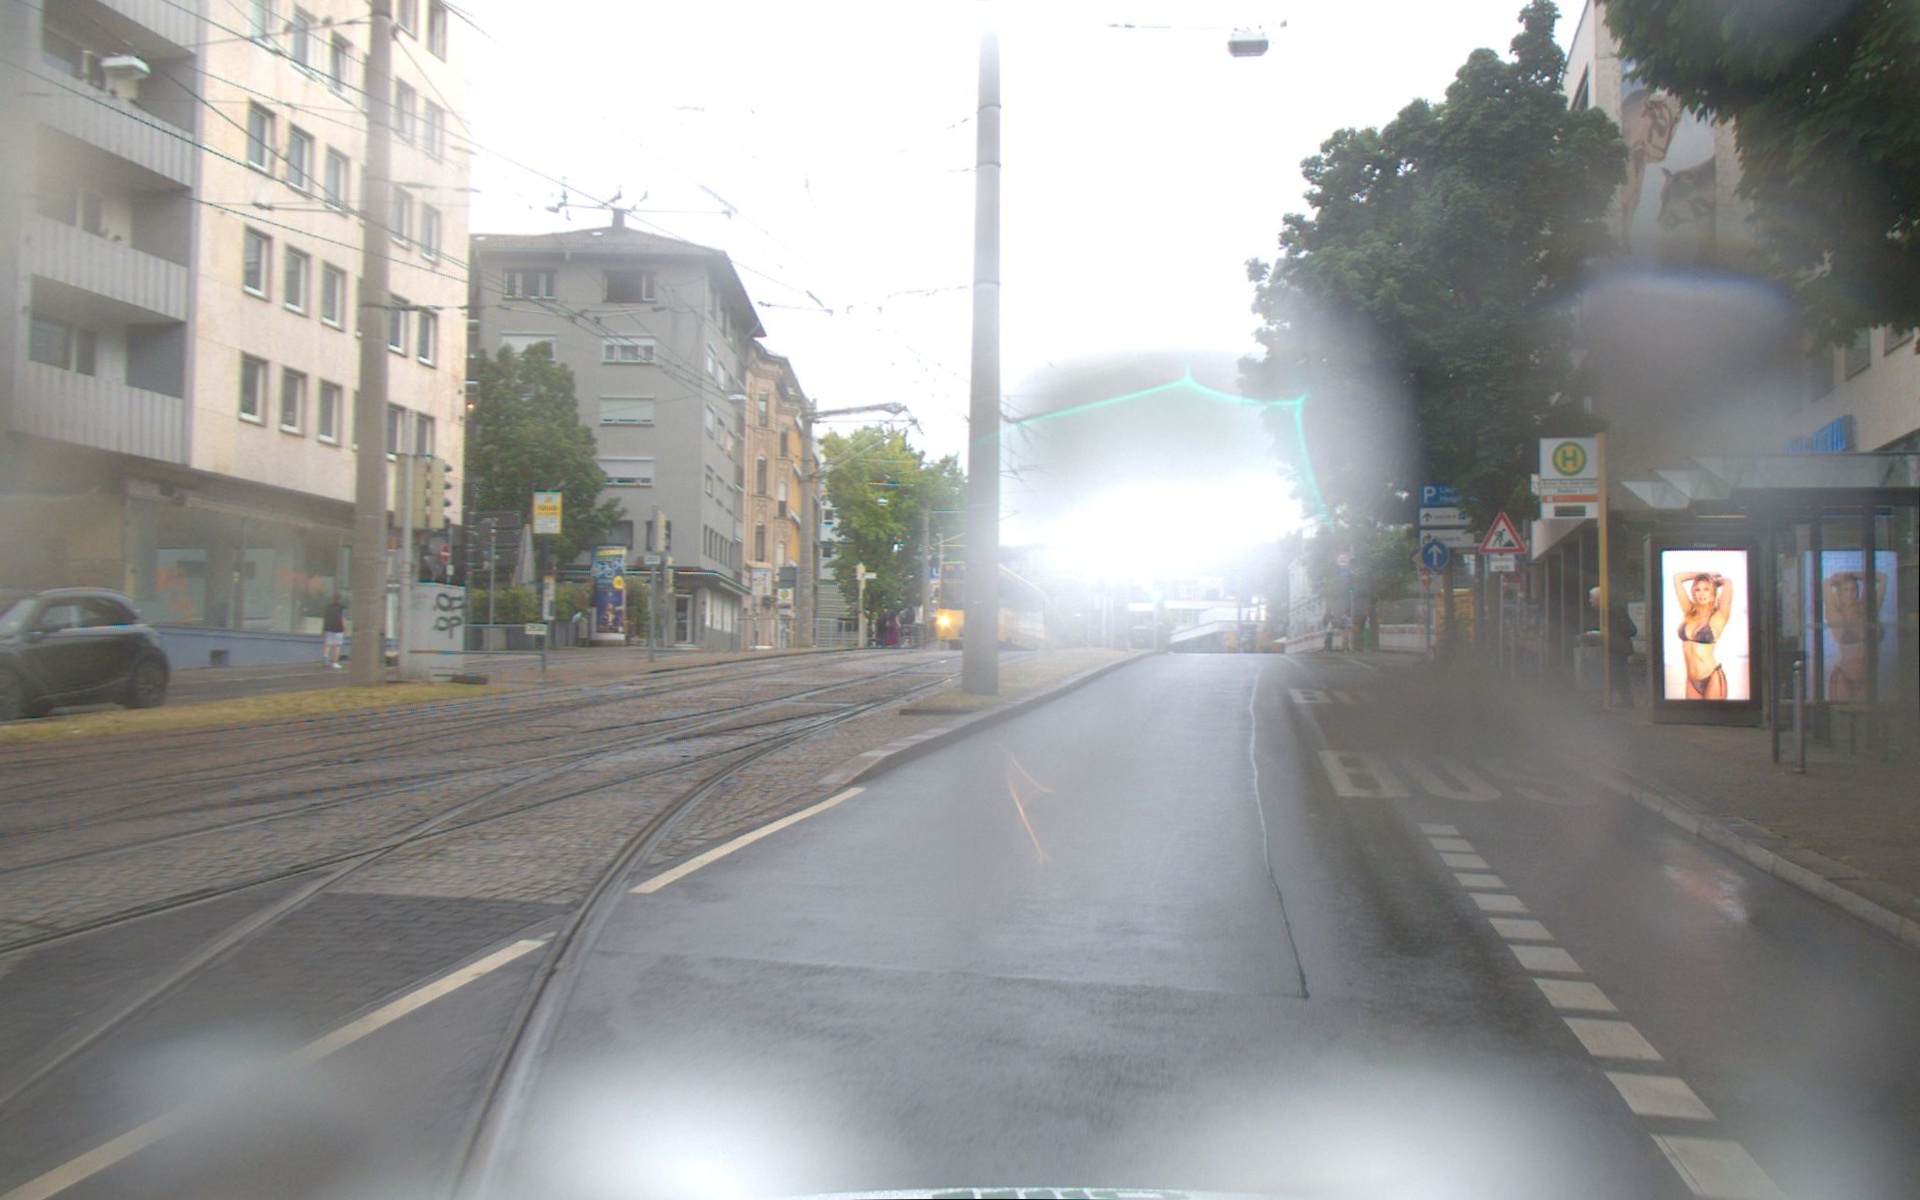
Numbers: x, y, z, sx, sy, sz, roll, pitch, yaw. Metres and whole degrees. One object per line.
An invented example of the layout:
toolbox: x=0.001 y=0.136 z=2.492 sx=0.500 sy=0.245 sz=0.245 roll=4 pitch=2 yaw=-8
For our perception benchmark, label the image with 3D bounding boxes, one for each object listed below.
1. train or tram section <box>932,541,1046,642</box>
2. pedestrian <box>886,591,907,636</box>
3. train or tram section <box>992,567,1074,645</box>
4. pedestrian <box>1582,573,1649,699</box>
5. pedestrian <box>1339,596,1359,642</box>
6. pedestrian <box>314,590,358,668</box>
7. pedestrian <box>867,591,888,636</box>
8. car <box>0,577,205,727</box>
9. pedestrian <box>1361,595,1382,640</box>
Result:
train or tram section: x=1.617 y=-0.084 z=73.468 sx=2.687 sy=3.762 sz=18.983 roll=1 pitch=-2 yaw=8
pedestrian: x=-2.543 y=0.546 z=66.658 sx=0.716 sy=1.822 sz=0.697 roll=0 pitch=0 yaw=8
train or tram section: x=4.311 y=0.537 z=92.242 sx=2.687 sy=3.762 sz=18.983 roll=1 pitch=-2 yaw=8
pedestrian: x=8.810 y=0.470 z=22.253 sx=0.651 sy=1.655 sz=0.968 roll=0 pitch=-1 yaw=9
pedestrian: x=15.825 y=0.771 z=67.369 sx=0.685 sy=1.847 sz=0.977 roll=0 pitch=-1 yaw=7
pedestrian: x=-14.294 y=0.651 z=37.894 sx=0.584 sy=1.768 sz=0.910 roll=0 pitch=-1 yaw=8
pedestrian: x=-3.334 y=0.547 z=66.782 sx=0.716 sy=1.822 sz=0.697 roll=0 pitch=0 yaw=8
car: x=-11.620 y=0.601 z=20.396 sx=1.951 sy=1.702 sz=4.531 roll=0 pitch=0 yaw=10
pedestrian: x=16.665 y=0.696 z=67.053 sx=0.685 sy=1.816 sz=1.067 roll=0 pitch=-1 yaw=7
